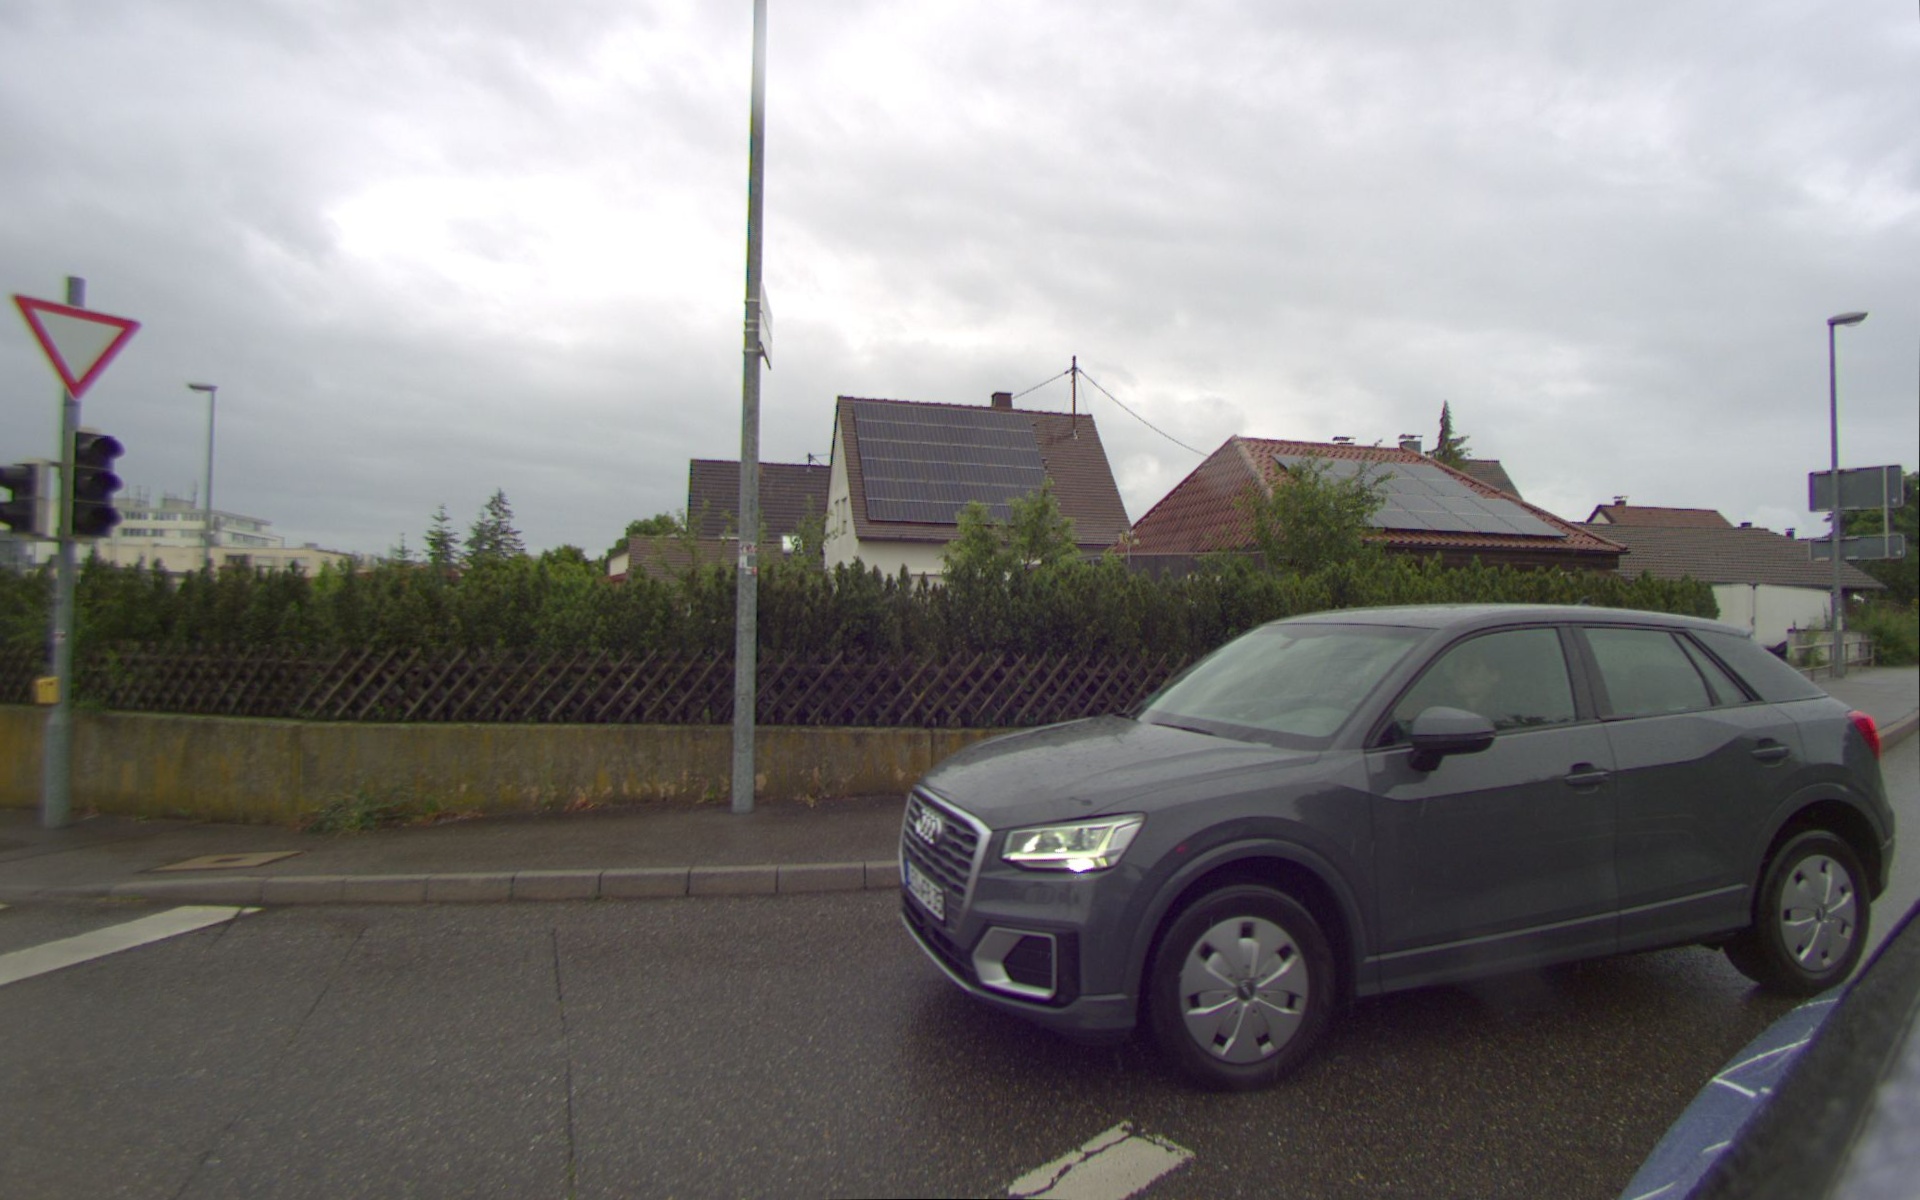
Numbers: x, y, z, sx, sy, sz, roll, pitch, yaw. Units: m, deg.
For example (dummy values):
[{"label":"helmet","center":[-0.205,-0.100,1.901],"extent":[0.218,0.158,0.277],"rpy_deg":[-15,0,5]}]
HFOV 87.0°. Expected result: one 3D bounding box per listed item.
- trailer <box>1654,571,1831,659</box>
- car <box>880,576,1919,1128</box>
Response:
[{"label":"trailer","center":[23.747,0.469,30.759],"extent":[4.605,2.550,1.652],"rpy_deg":[0,-2,-13]},{"label":"car","center":[1.752,0.724,4.197],"extent":[3.856,1.515,1.691],"rpy_deg":[0,-3,-18]}]
